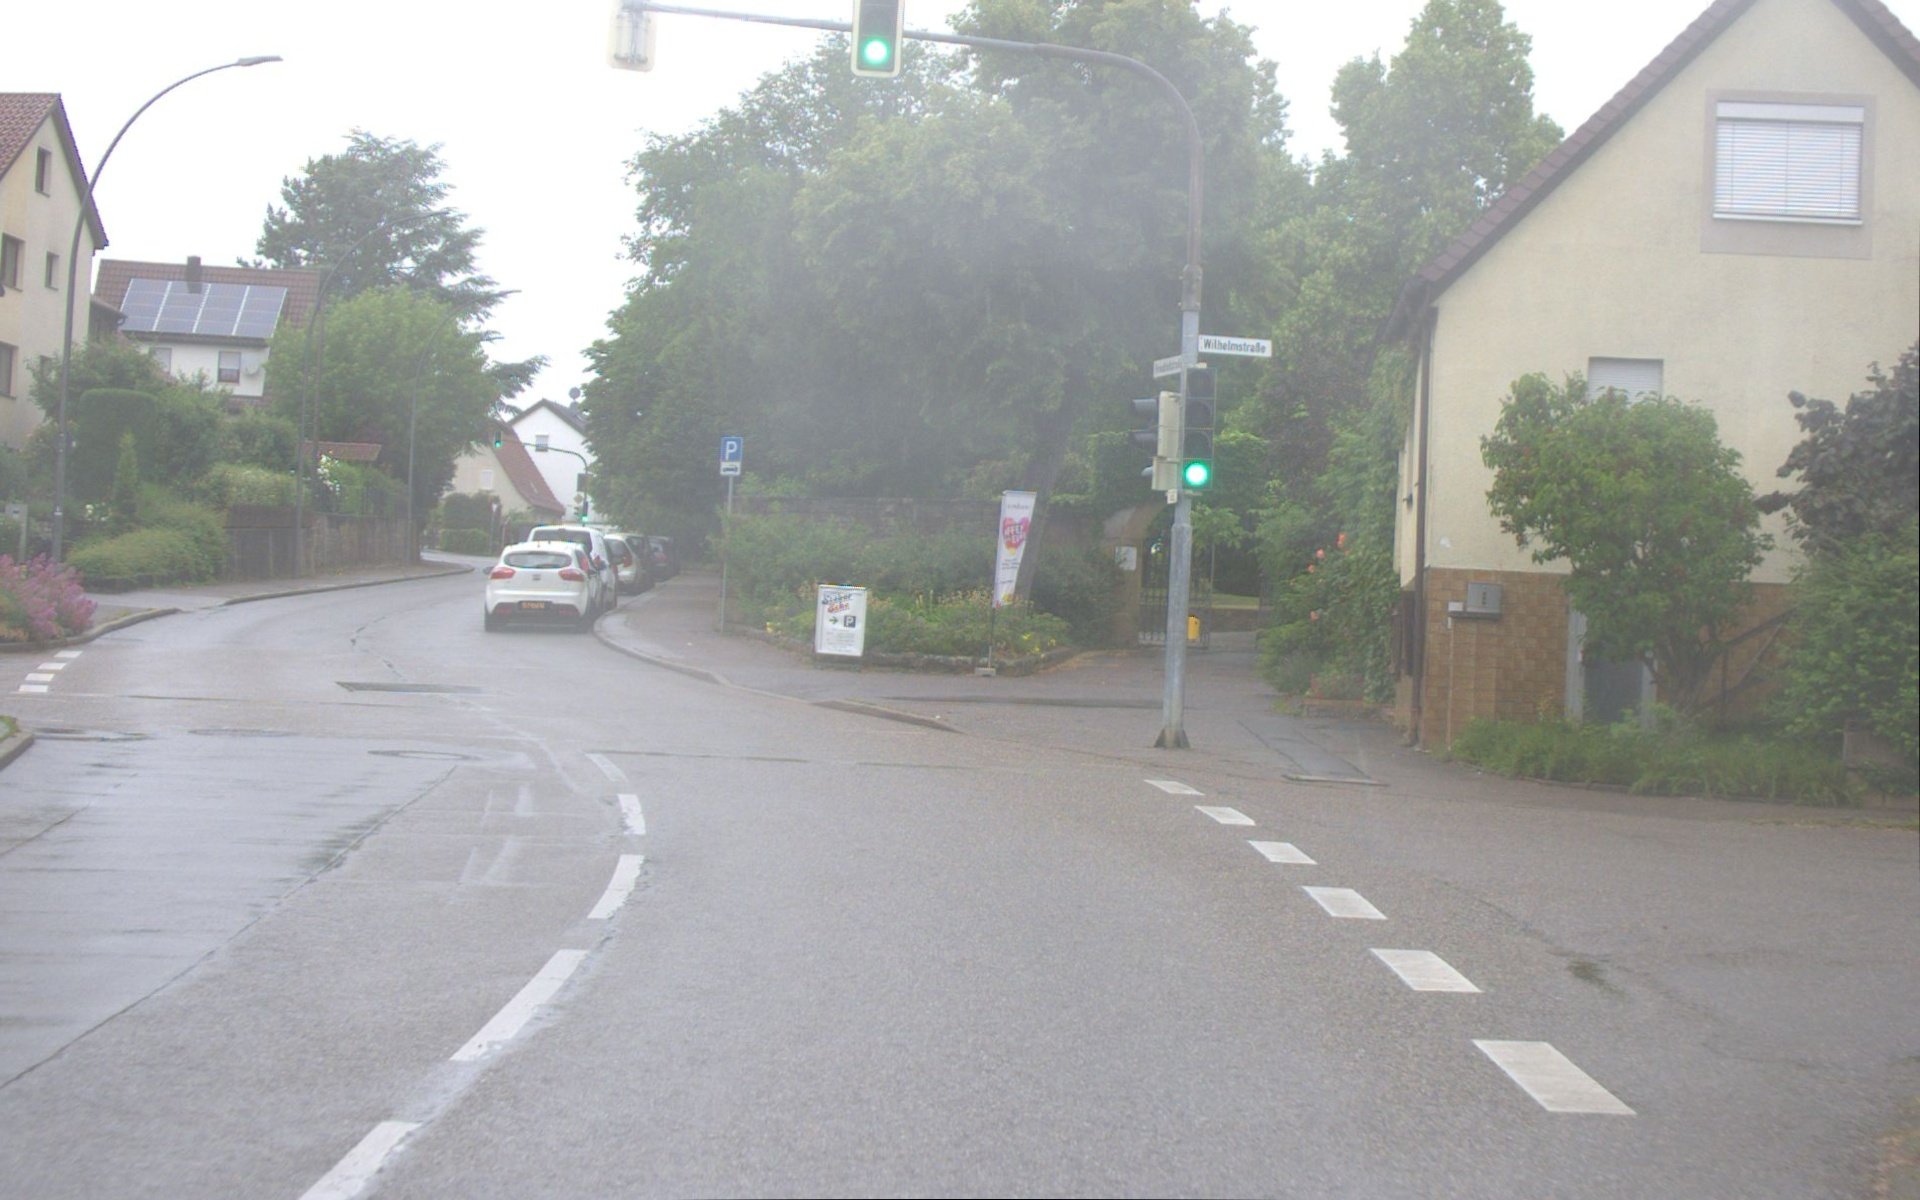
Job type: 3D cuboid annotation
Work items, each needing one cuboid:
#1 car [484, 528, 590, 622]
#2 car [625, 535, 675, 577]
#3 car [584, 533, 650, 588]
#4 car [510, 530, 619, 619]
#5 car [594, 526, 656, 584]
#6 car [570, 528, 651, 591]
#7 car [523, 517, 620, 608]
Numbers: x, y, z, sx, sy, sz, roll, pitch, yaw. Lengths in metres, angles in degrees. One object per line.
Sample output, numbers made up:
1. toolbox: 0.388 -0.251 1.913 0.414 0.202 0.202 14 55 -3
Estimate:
1. car: -7.229 -0.453 58.999 1.611 1.475 4.039 3 1 -5
2. car: -10.638 -1.516 117.855 1.651 1.367 4.182 2 1 -5
3. car: -9.732 -1.119 97.705 1.764 1.442 4.697 2 0 -6
4. car: -7.357 -0.497 64.229 1.645 1.457 4.001 3 2 -2
5. car: -10.131 -1.356 104.087 1.741 1.662 4.498 2 0 -5
6. car: -9.307 -1.076 91.797 1.814 1.568 3.880 2 0 -2
7. car: -7.876 -0.773 69.965 1.637 1.735 4.136 2 1 -3
